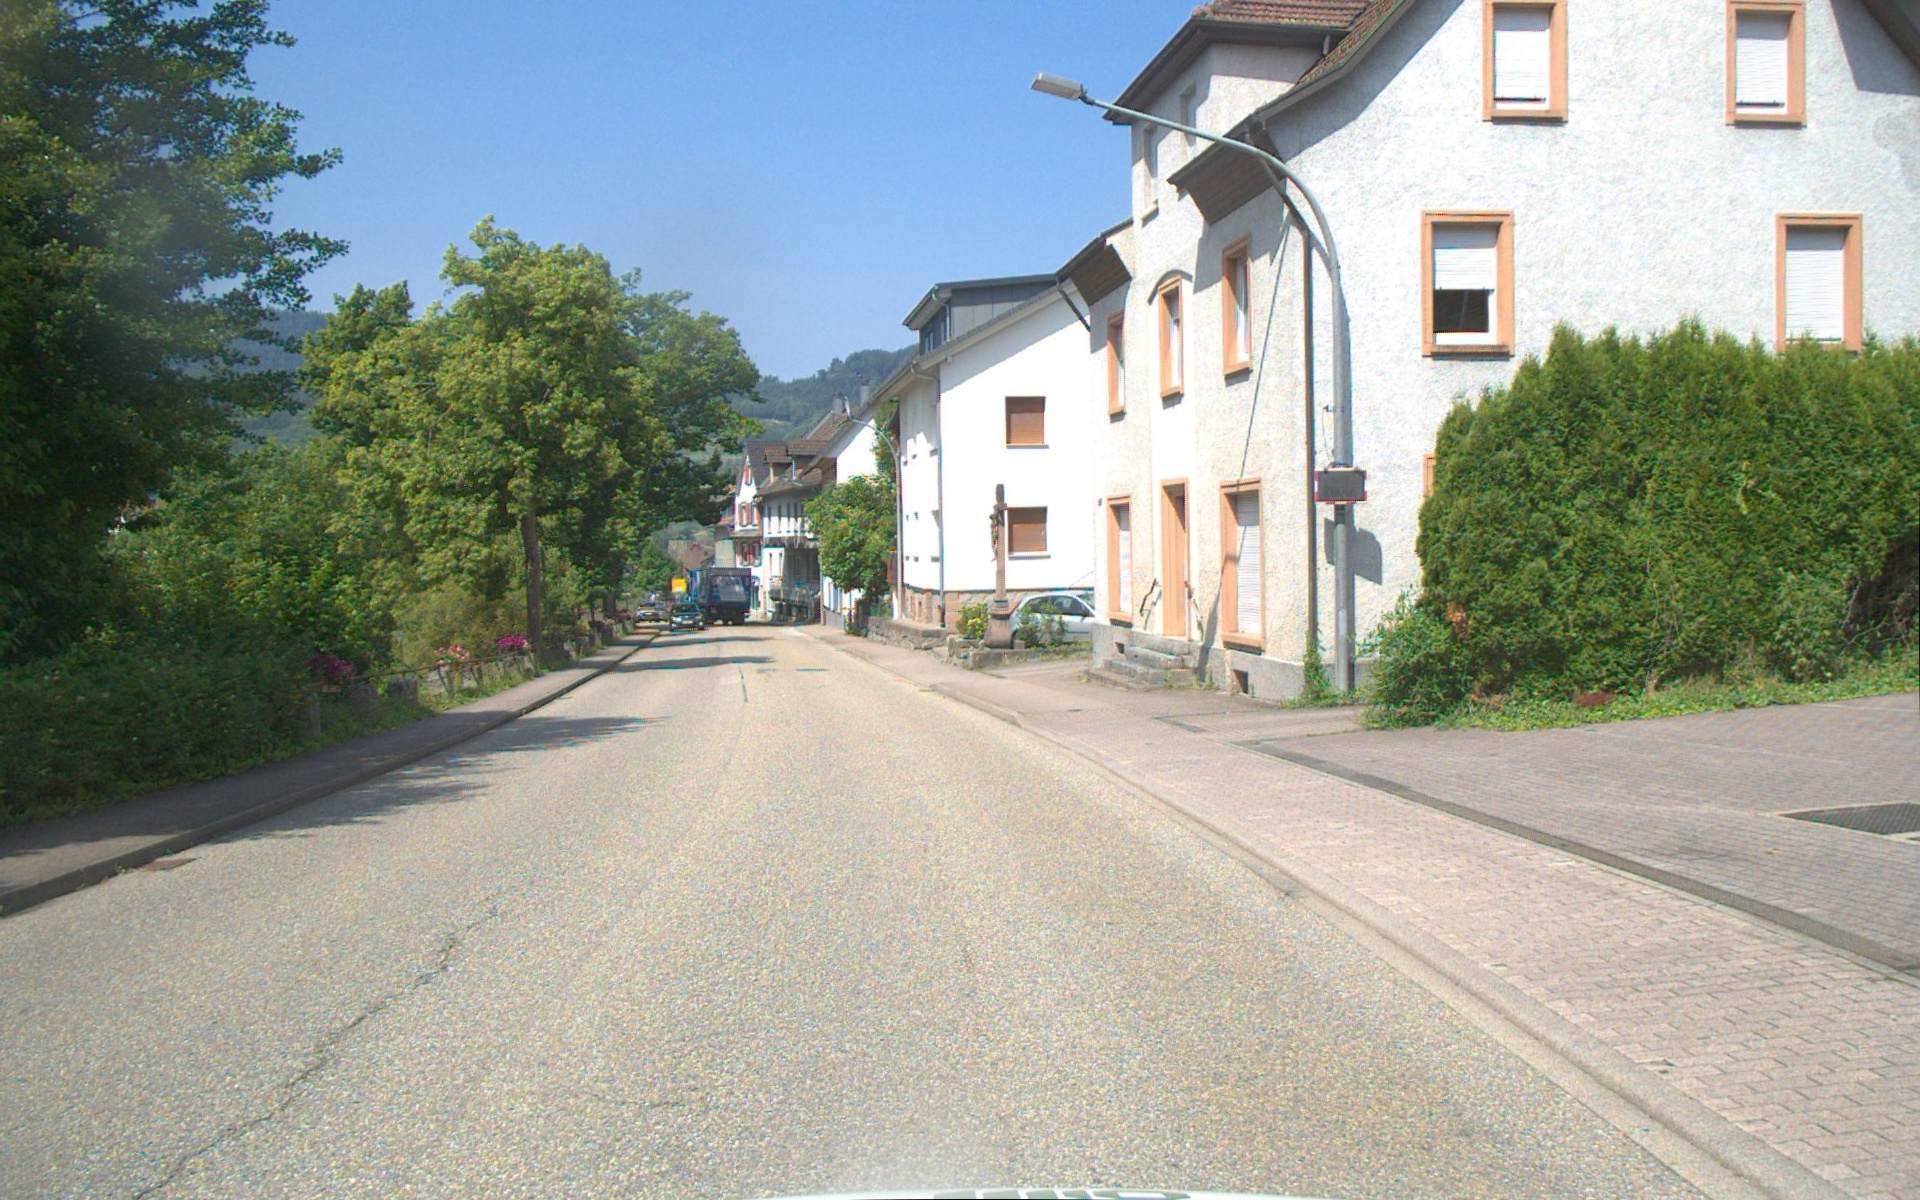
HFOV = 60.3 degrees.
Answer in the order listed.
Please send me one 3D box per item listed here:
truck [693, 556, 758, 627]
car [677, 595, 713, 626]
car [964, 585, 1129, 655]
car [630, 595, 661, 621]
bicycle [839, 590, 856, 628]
[{"bbox_3d":[-14.799,-0.445,103.818,3.305,3.847,8.415,-5,-1,-12],"label":"truck"},{"bbox_3d":[-13.596,0.520,84.915,1.635,1.442,4.079,-3,0,-8],"label":"car"},{"bbox_3d":[2.089,0.500,40.407,3.702,1.452,1.604,-4,0,37],"label":"car"},{"bbox_3d":[-24.887,0.616,130.704,1.748,1.764,3.978,-5,-1,-19],"label":"car"},{"bbox_3d":[-4.445,0.354,65.361,0.417,1.420,2.273,-5,1,-8],"label":"bicycle"}]
